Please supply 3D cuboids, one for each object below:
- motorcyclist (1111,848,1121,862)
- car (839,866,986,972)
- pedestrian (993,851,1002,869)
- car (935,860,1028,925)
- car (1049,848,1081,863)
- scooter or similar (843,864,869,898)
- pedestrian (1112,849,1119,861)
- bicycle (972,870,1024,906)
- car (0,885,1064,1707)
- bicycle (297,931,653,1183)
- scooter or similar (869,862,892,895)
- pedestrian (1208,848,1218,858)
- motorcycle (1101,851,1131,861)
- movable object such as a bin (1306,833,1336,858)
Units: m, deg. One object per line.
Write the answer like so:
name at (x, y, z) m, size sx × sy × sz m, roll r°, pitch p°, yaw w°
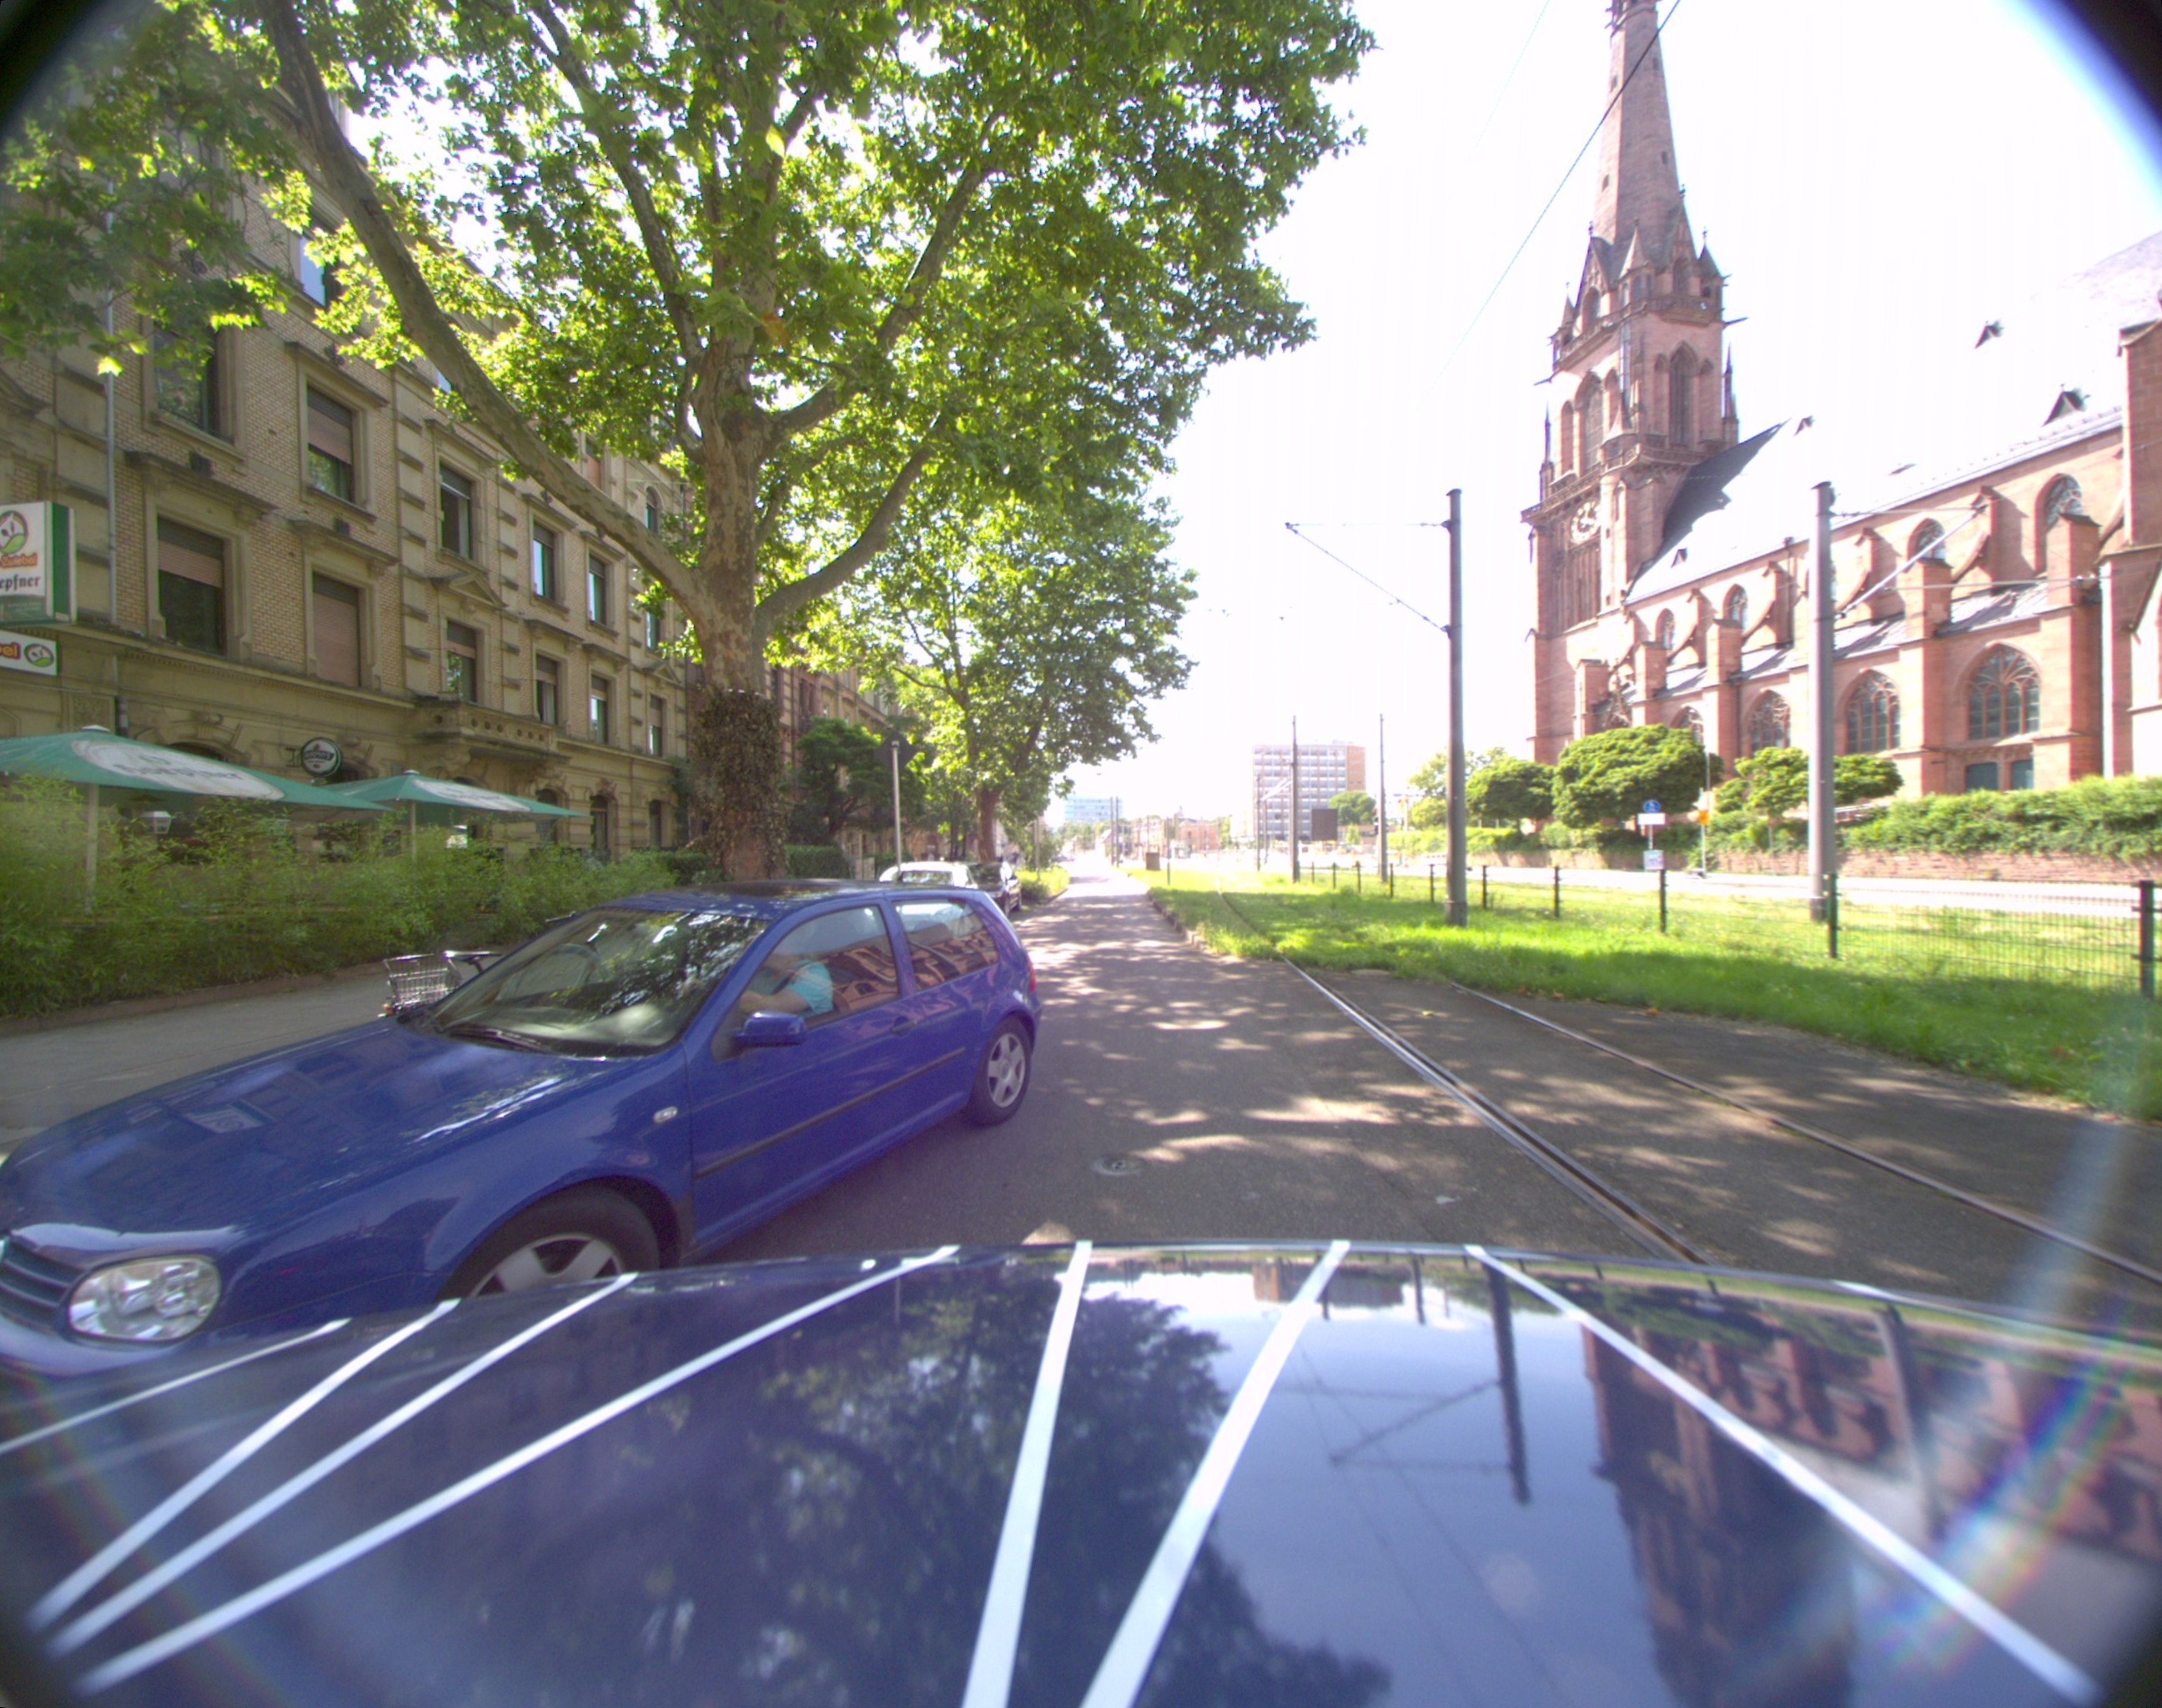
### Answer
motorcyclist at (4.936, 0.089, 106.884) m, size 1.108 × 1.919 × 1.332 m, roll -1°, pitch 1°, yaw -7°
car at (-2.844, 1.018, 13.818) m, size 1.838 × 1.499 × 4.490 m, roll -1°, pitch 0°, yaw -3°
pedestrian at (-8.177, 0.582, 74.398) m, size 0.797 × 1.708 × 0.967 m, roll -1°, pitch 1°, yaw 0°
car at (-2.600, 0.963, 20.965) m, size 1.838 × 1.499 × 4.643 m, roll -1°, pitch 0°, yaw 1°
car at (-2.144, 0.187, 103.549) m, size 3.993 × 2.002 × 2.002 m, roll -1°, pitch 1°, yaw 11°
scooter or similar at (-8.446, 0.999, 28.542) m, size 0.583 × 1.240 × 1.145 m, roll -1°, pitch 1°, yaw 1°
pedestrian at (4.691, 0.138, 104.349) m, size 0.850 × 1.644 × 1.128 m, roll -1°, pitch 1°, yaw 1°
bicycle at (-2.697, 1.104, 24.857) m, size 1.641 × 1.082 × 0.470 m, roll -1°, pitch 1°, yaw -32°
car at (-1.837, 0.964, 3.404) m, size 1.883 × 1.402 × 4.100 m, roll 1°, pitch 1°, yaw 25°
bicycle at (-3.562, 1.106, 4.632) m, size 0.421 × 1.099 × 1.619 m, roll 0°, pitch 1°, yaw 33°
scooter or similar at (-8.247, 0.998, 31.264) m, size 0.583 × 1.275 × 1.145 m, roll -1°, pitch 1°, yaw 3°
pedestrian at (24.779, -0.244, 142.677) m, size 1.426 × 1.796 × 1.422 m, roll -1°, pitch 1°, yaw -3°
motorcycle at (4.933, 0.314, 106.889) m, size 3.937 × 1.331 × 1.244 m, roll -1°, pitch 1°, yaw -8°
movable object such as a bin at (37.708, -1.306, 119.502) m, size 3.340 × 3.859 × 2.932 m, roll -1°, pitch 1°, yaw -33°
